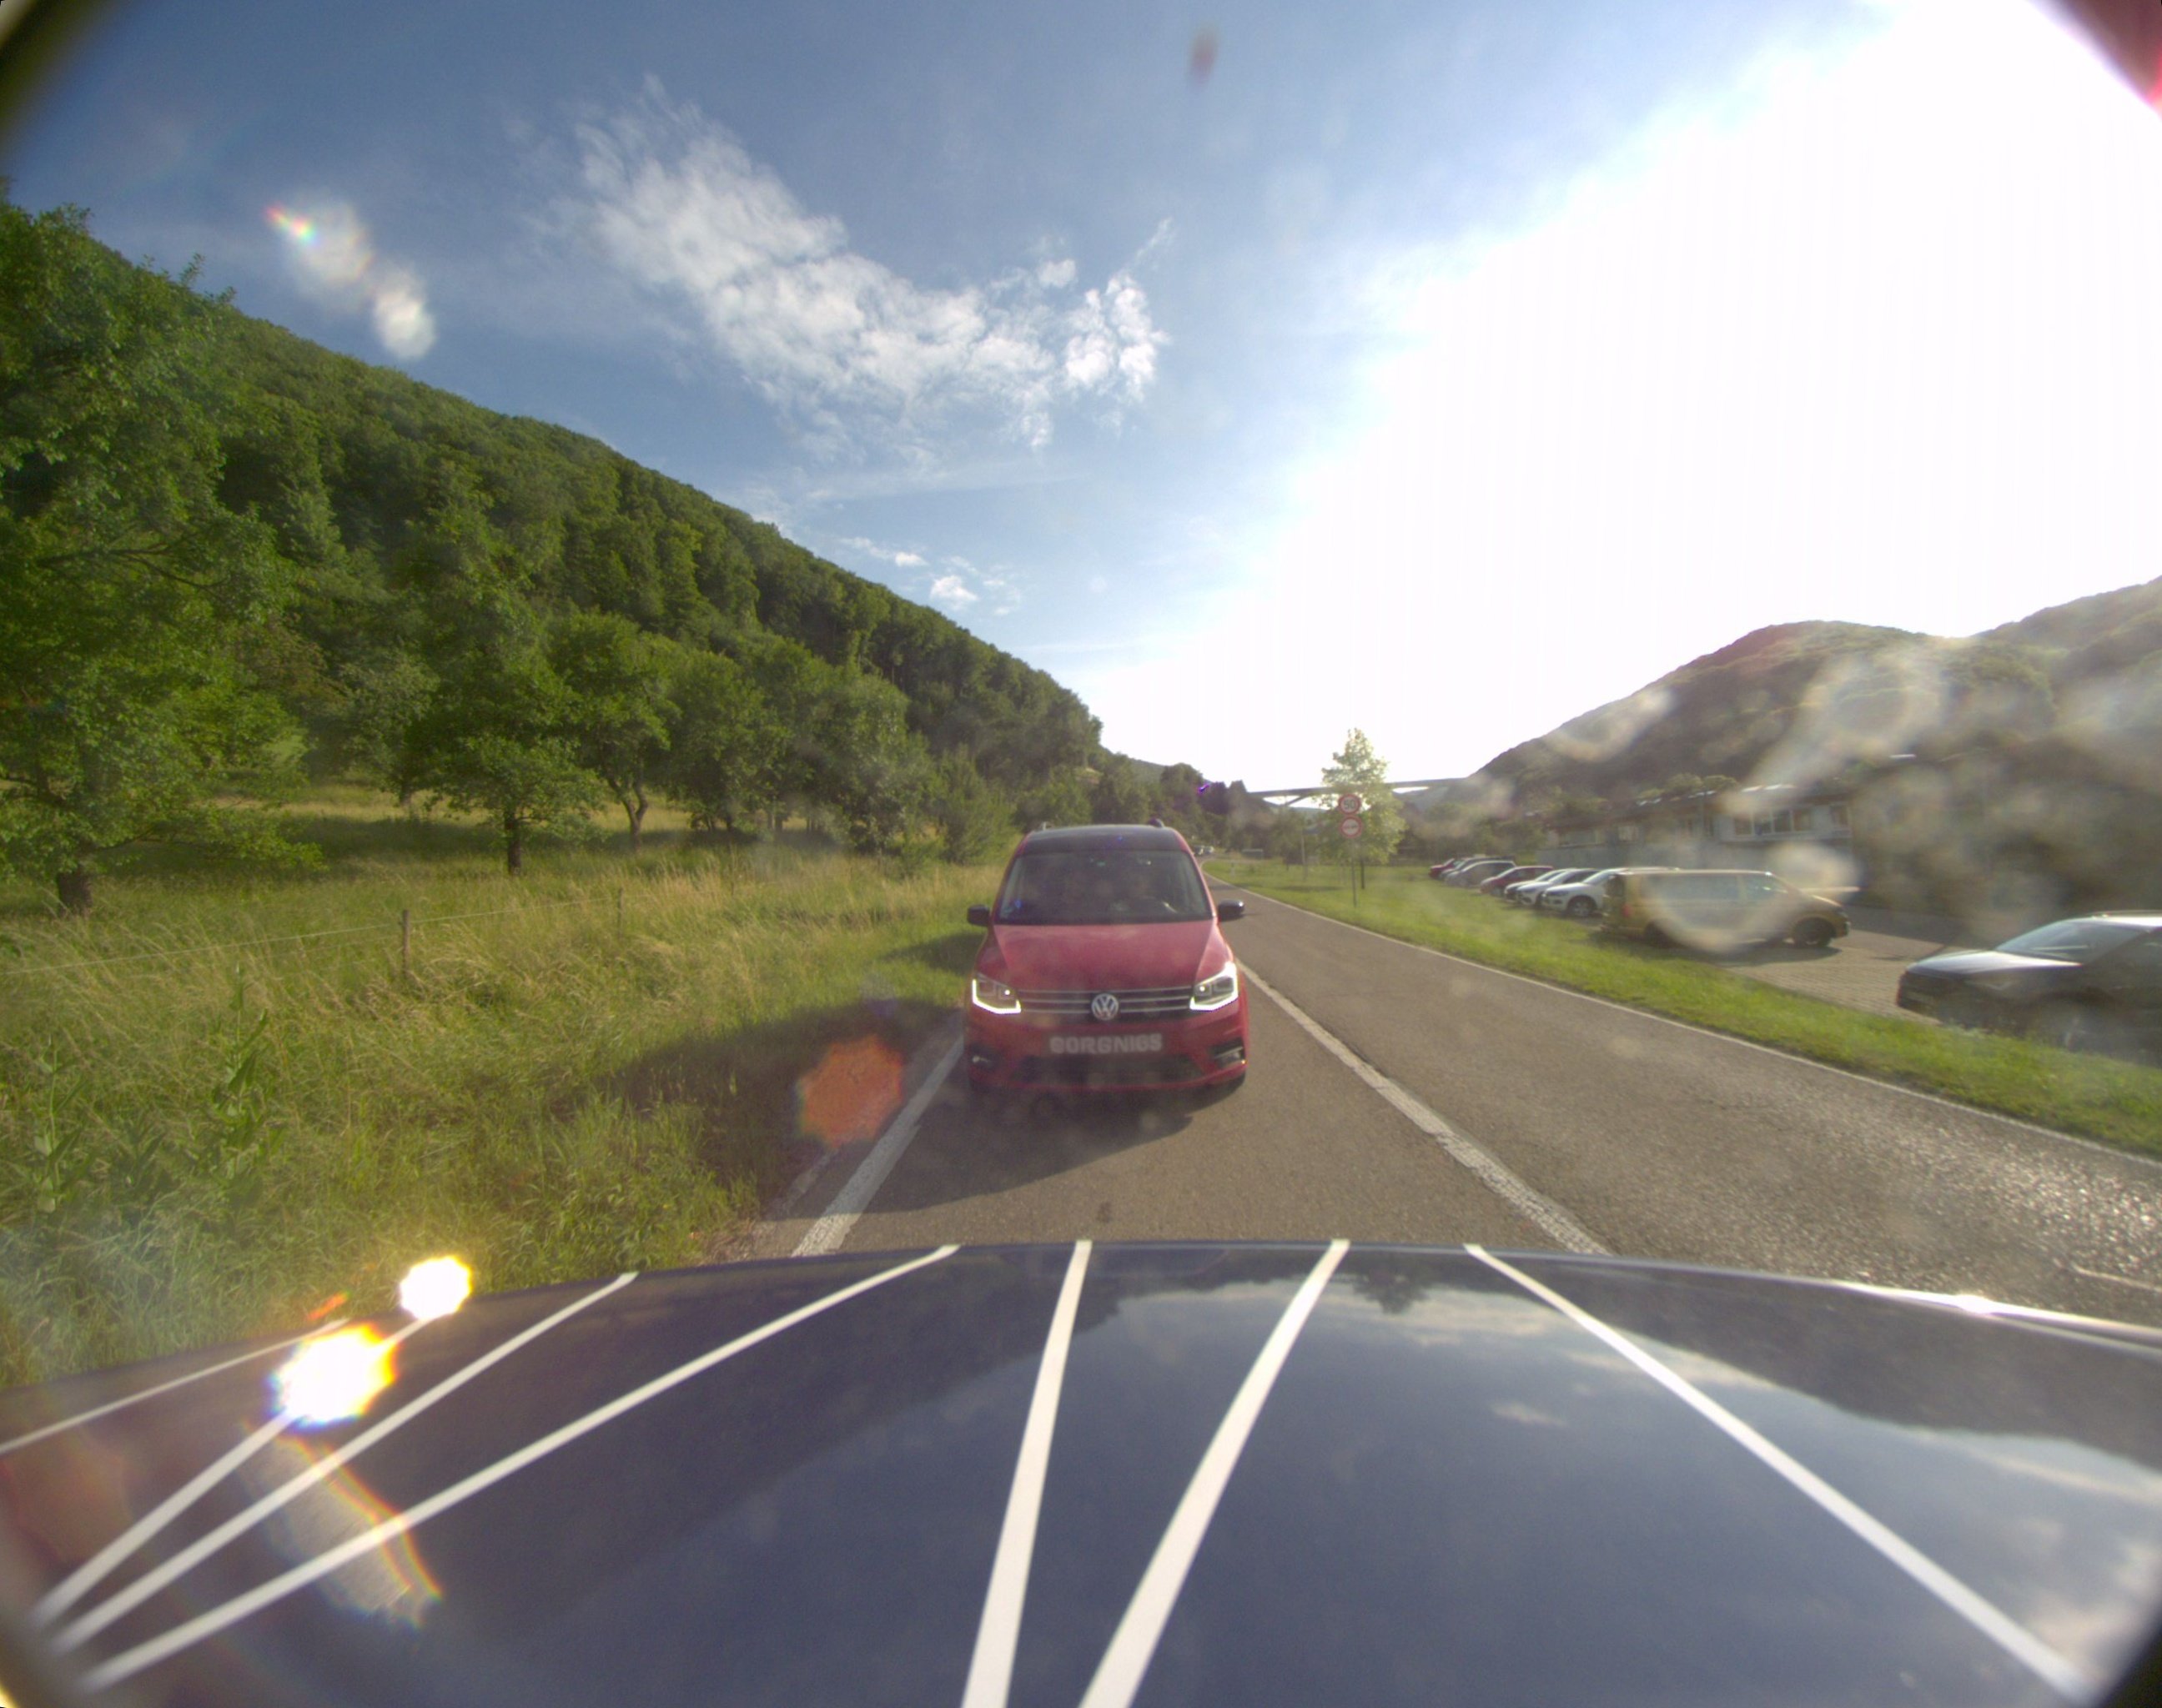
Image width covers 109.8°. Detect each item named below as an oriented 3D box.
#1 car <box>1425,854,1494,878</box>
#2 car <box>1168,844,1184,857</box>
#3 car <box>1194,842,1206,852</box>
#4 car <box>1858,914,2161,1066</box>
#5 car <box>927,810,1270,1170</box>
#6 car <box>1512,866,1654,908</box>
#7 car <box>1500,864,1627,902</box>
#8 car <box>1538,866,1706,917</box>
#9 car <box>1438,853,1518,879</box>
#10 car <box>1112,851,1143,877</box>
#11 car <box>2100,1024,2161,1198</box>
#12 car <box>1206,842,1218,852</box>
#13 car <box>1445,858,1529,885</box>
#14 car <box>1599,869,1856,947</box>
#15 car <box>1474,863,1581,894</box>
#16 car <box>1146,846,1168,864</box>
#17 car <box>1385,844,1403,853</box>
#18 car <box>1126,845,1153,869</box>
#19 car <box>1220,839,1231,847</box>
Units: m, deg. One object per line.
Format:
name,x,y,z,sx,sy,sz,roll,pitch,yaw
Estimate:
car,28.885,0.927,58.104,4.437,1.709,2.003,-1,0,18
car,13.357,-0.547,106.421,1.797,1.725,4.287,-2,0,13
car,20.657,-1.172,131.954,1.676,1.637,3.350,-2,0,17
car,13.529,1.705,9.939,4.289,1.628,1.915,-3,0,15
car,0.119,0.734,6.179,1.747,1.849,4.348,-2,0,1
car,20.195,1.319,30.792,4.437,1.577,2.003,-1,0,20
car,21.404,1.266,33.946,4.437,1.573,2.003,-1,0,18
car,19.320,1.322,27.394,4.545,1.691,2.003,-1,0,20
car,27.596,0.840,52.930,4.665,1.752,2.003,-1,0,18
car,2.932,0.614,47.084,1.798,1.464,4.285,-2,0,4
car,12.090,2.394,5.996,4.645,1.488,1.915,-1,0,15
car,25.159,-1.411,145.837,1.996,1.706,4.005,-3,-2,15
car,25.799,1.107,48.469,4.437,1.573,2.003,-2,0,18
car,16.445,1.328,19.663,4.653,1.802,2.003,-1,0,20
car,22.697,1.243,38.822,4.437,1.443,2.003,-1,0,20
car,7.741,0.124,77.286,1.911,1.675,4.003,-2,-1,10
car,59.380,-1.075,144.135,1.994,1.518,4.783,-1,0,37
car,4.804,0.230,61.806,1.997,1.838,4.002,-2,0,6
car,32.987,-2.533,173.180,1.909,1.893,4.004,-2,1,17
